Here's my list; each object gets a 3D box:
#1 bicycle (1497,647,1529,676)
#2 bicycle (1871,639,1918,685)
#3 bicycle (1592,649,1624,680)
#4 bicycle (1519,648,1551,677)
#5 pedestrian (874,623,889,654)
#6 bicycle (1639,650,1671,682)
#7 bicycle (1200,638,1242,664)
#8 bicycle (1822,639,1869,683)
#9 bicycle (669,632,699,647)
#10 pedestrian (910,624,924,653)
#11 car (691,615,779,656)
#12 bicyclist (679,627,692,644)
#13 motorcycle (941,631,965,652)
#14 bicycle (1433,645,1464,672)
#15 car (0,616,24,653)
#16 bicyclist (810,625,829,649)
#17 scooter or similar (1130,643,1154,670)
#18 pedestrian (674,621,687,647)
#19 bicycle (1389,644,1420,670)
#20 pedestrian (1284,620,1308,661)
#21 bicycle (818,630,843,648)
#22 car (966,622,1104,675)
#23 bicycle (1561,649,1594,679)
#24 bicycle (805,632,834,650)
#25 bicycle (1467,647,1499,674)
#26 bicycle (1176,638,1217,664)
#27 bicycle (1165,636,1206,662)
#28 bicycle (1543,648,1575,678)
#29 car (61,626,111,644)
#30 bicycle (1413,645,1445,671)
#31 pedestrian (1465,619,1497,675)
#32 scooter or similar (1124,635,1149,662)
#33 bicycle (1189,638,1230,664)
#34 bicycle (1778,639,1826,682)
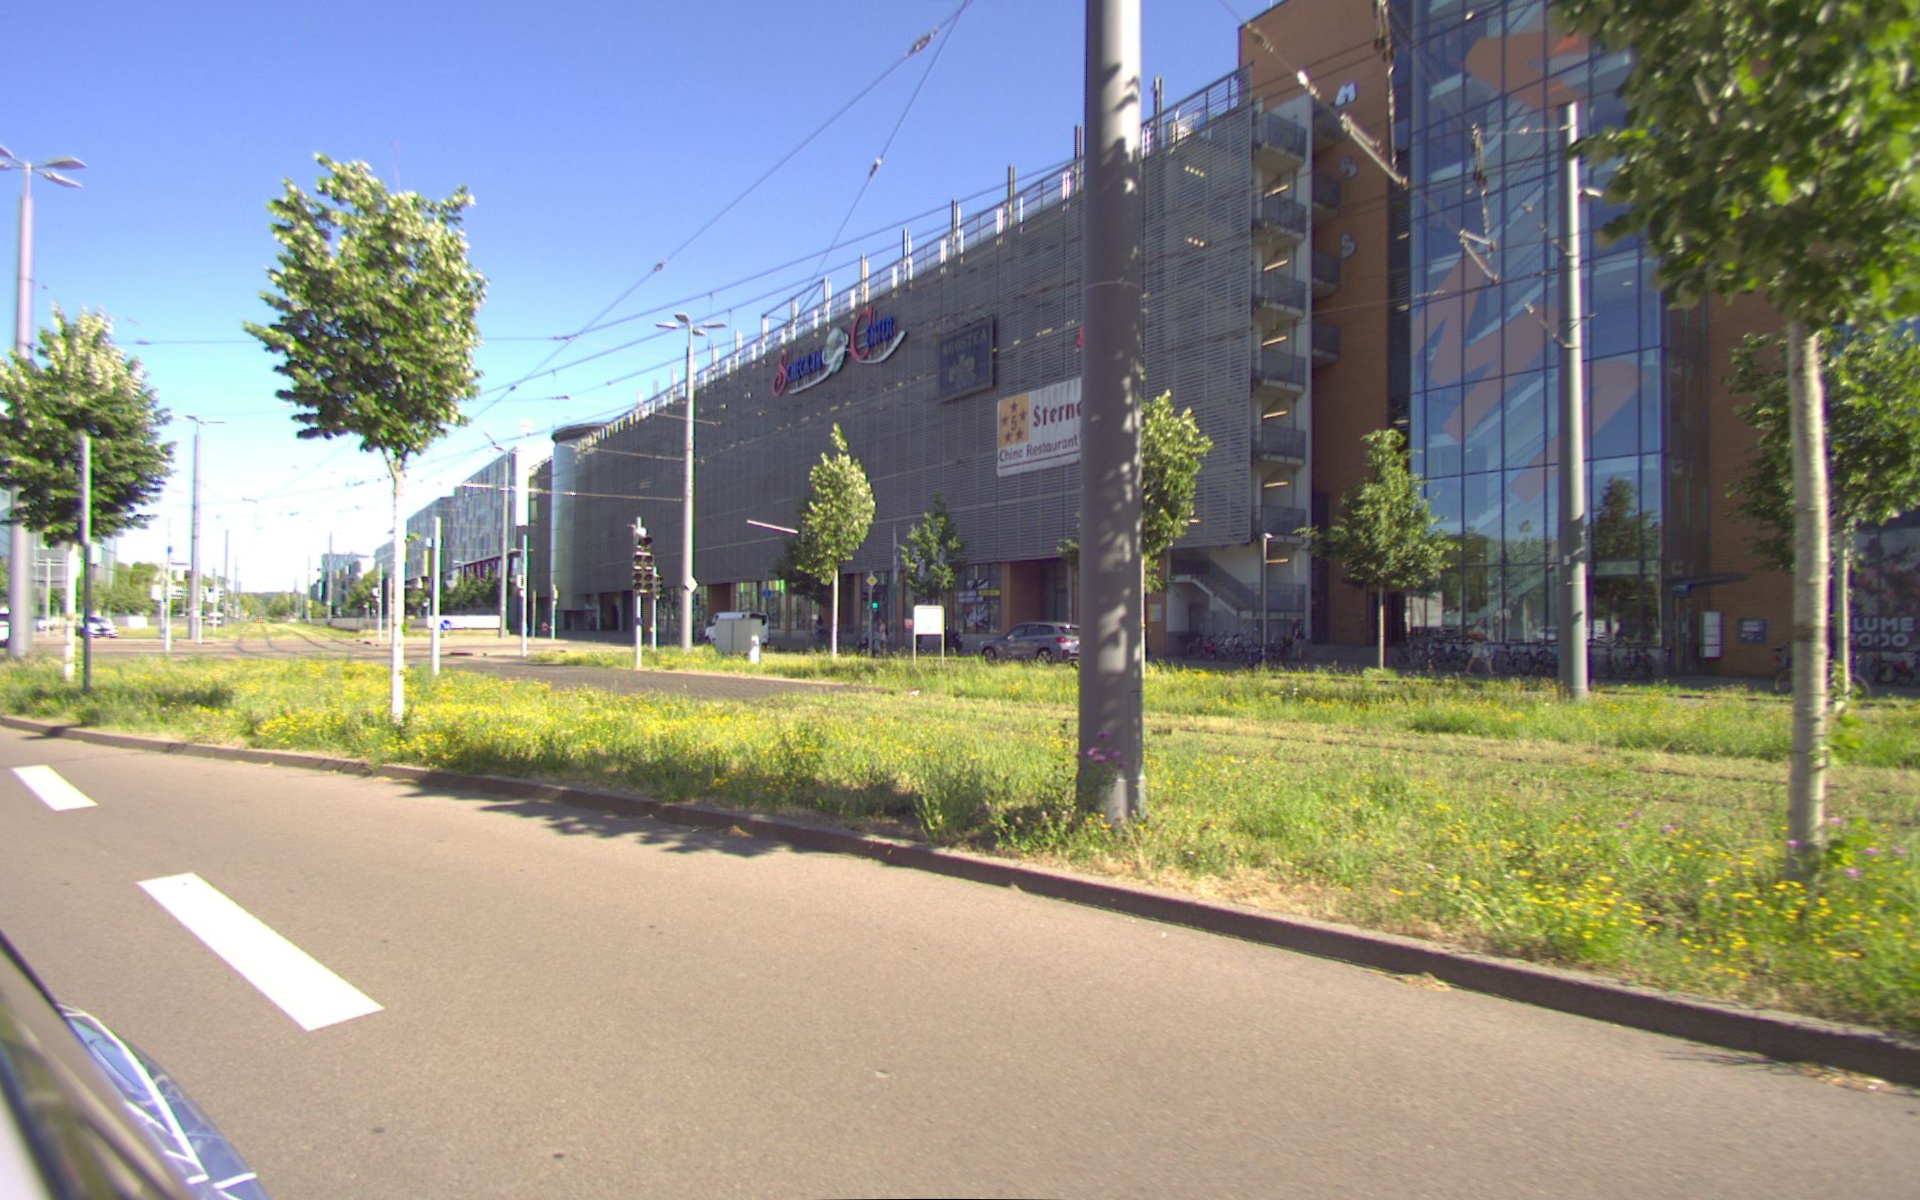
[{"bbox_3d":[17.490,1.931,32.007,1.429,0.825,0.446,0,-1,-43],"label":"bicycle"},{"bbox_3d":[25.400,1.658,27.493,2.147,1.132,0.754,0,-1,-43],"label":"bicycle"},{"bbox_3d":[19.126,1.898,29.855,1.429,0.825,0.446,0,-1,-43],"label":"bicycle"},{"bbox_3d":[17.904,1.939,31.487,1.429,0.825,0.446,0,-1,-43],"label":"bicycle"},{"bbox_3d":[-3.826,1.881,49.351,0.481,1.498,0.743,1,-2,-27],"label":"pedestrian"},{"bbox_3d":[20.016,1.892,29.146,1.429,0.825,0.446,0,-1,-43],"label":"bicycle"},{"bbox_3d":[10.297,1.990,39.888,2.147,0.962,0.493,0,-1,-43],"label":"bicycle"},{"bbox_3d":[24.717,1.683,28.241,2.147,1.132,0.754,0,-1,-43],"label":"bicycle"},{"bbox_3d":[-18.374,2.643,67.314,2.006,0.993,0.556,0,-2,21],"label":"bicycle"},{"bbox_3d":[-2.312,2.045,54.188,0.483,1.530,0.651,1,-2,-32],"label":"pedestrian"},{"bbox_3d":[-11.998,1.846,53.718,2.194,2.029,5.261,1,-2,-43],"label":"car"},{"bbox_3d":[-18.236,2.352,67.254,0.559,1.148,0.556,0,-2,20],"label":"bicyclist"},{"bbox_3d":[-0.388,2.174,53.207,0.395,1.046,1.623,1,-2,-36],"label":"motorcycle"},{"bbox_3d":[16.425,1.961,34.001,1.429,0.825,0.446,0,-1,-43],"label":"bicycle"},{"bbox_3d":[-45.641,1.527,45.143,5.452,1.664,1.819,1,-1,-17],"label":"car"},{"bbox_3d":[-8.377,2.196,60.438,0.584,1.418,1.315,1,-2,-35],"label":"bicyclist"},{"bbox_3d":[7.906,2.434,43.995,0.272,1.111,1.209,2,-1,-34],"label":"scooter or similar"},{"bbox_3d":[-19.119,2.311,69.142,0.624,1.764,0.582,-1,-2,35],"label":"pedestrian"},{"bbox_3d":[15.374,1.957,34.966,1.429,0.825,0.446,0,-1,-43],"label":"bicycle"},{"bbox_3d":[13.128,1.570,39.558,0.626,1.565,0.663,1,-2,-31],"label":"pedestrian"},{"bbox_3d":[-8.118,2.435,63.529,0.564,1.046,1.954,1,-2,-41],"label":"bicycle"},{"bbox_3d":[2.537,1.618,34.989,4.539,1.694,1.971,-1,-2,44],"label":"car"},{"bbox_3d":[18.553,1.900,30.405,1.429,0.825,0.446,0,-1,-43],"label":"bicycle"},{"bbox_3d":[-8.419,2.418,60.457,0.588,1.018,2.575,1,-2,-35],"label":"bicycle"},{"bbox_3d":[16.932,1.947,32.751,1.429,0.825,0.446,0,-1,-43],"label":"bicycle"},{"bbox_3d":[9.522,2.027,40.664,2.147,0.962,0.493,0,-1,-43],"label":"bicycle"},{"bbox_3d":[9.168,1.990,41.046,2.147,0.962,0.493,0,-1,-43],"label":"bicycle"},{"bbox_3d":[18.260,1.903,30.837,1.429,0.825,0.446,0,-1,-43],"label":"bicycle"},{"bbox_3d":[-55.538,2.214,64.355,1.967,1.098,4.010,1,-2,-35],"label":"car"},{"bbox_3d":[15.938,1.970,34.382,1.429,0.825,0.446,0,-1,-43],"label":"bicycle"},{"bbox_3d":[16.184,1.451,31.425,0.778,1.698,0.589,-1,-2,40],"label":"pedestrian"},{"bbox_3d":[7.627,2.073,43.760,0.272,1.111,1.209,2,-1,-34],"label":"scooter or similar"},{"bbox_3d":[9.937,2.004,40.267,2.147,0.962,0.493,0,-1,-43],"label":"bicycle"},{"bbox_3d":[23.991,1.702,28.820,2.147,1.132,0.754,0,-1,-43],"label":"bicycle"}]
